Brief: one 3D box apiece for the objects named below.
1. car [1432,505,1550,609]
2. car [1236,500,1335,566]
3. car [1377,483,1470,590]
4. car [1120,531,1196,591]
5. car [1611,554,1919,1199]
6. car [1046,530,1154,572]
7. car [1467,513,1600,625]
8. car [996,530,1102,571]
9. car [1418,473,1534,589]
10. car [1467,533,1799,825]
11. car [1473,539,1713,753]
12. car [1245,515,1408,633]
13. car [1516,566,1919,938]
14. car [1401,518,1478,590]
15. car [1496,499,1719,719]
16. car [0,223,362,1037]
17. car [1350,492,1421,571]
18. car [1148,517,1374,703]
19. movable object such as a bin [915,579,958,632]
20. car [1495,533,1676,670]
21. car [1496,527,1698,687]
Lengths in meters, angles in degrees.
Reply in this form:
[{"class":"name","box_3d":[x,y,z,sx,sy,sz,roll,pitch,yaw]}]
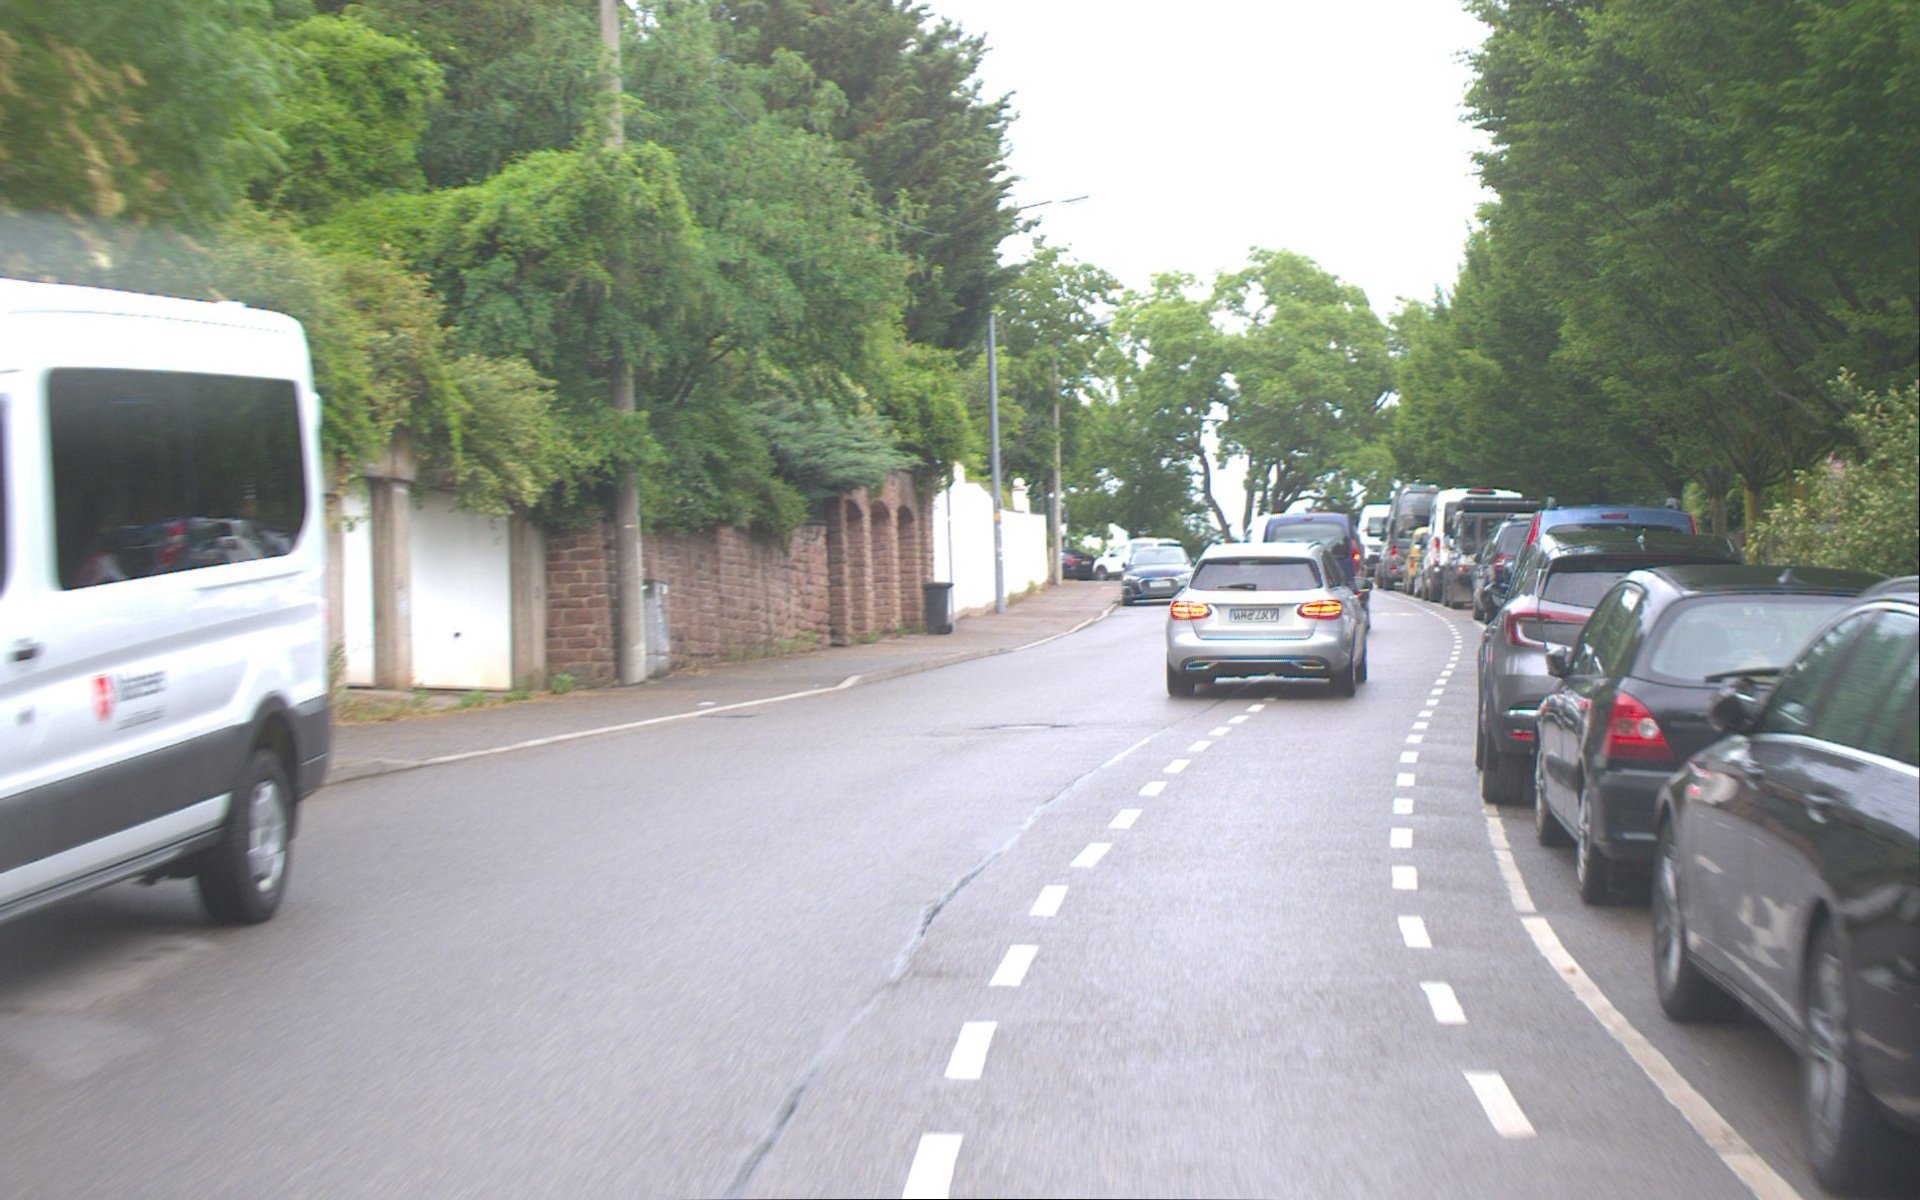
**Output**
[{"class":"car","box_3d":[10.810,-0.895,70.303,1.994,2.045,5.121,0,1,5]},{"class":"car","box_3d":[12.880,-2.657,136.193,2.125,2.518,4.498,1,1,-20]},{"class":"car","box_3d":[13.010,-1.811,96.846,2.124,2.877,5.769,1,1,4]},{"class":"car","box_3d":[4.879,-0.975,84.255,1.748,1.353,4.425,-3,1,4]},{"class":"car","box_3d":[2.954,0.675,9.325,1.776,1.547,4.727,1,1,4]},{"class":"car","box_3d":[6.040,-2.117,148.317,1.965,1.692,4.494,0,2,-44]},{"class":"car","box_3d":[9.491,-0.540,57.152,1.780,1.777,4.678,0,1,5]},{"class":"car","box_3d":[3.885,-2.174,150.720,1.965,1.692,4.668,0,2,-41]},{"class":"car","box_3d":[11.641,-1.572,77.880,2.174,2.484,6.033,2,1,5]},{"class":"car","box_3d":[4.015,0.390,21.058,1.714,1.550,4.162,2,1,8]},{"class":"car","box_3d":[4.806,0.285,26.258,1.649,1.476,4.018,1,1,10]},{"class":"car","box_3d":[5.535,-0.386,52.377,1.993,1.702,4.000,1,0,-1]},{"class":"car","box_3d":[3.550,0.587,15.829,1.643,1.419,4.287,2,1,6]},{"class":"car","box_3d":[12.641,-1.227,90.801,1.727,1.779,4.275,3,2,5]},{"class":"car","box_3d":[5.817,0.018,31.282,1.778,1.845,4.423,1,1,8]},{"class":"car","box_3d":[-3.936,0.074,11.940,2.094,2.541,6.096,0,1,6]},{"class":"car","box_3d":[13.927,-2.265,112.668,2.064,2.486,4.759,1,1,5]},{"class":"car","box_3d":[3.021,0.063,33.766,2.026,1.702,4.214,-1,1,7]},{"class":"movable object such as a bin","box_3d":[-0.410,0.095,60.919,0.658,0.916,0.677,0,1,8]},{"class":"car","box_3d":[7.477,-0.033,41.457,1.994,1.532,4.848,1,1,9]},{"class":"car","box_3d":[6.731,0.024,36.701,1.784,1.603,4.223,0,1,6]}]
